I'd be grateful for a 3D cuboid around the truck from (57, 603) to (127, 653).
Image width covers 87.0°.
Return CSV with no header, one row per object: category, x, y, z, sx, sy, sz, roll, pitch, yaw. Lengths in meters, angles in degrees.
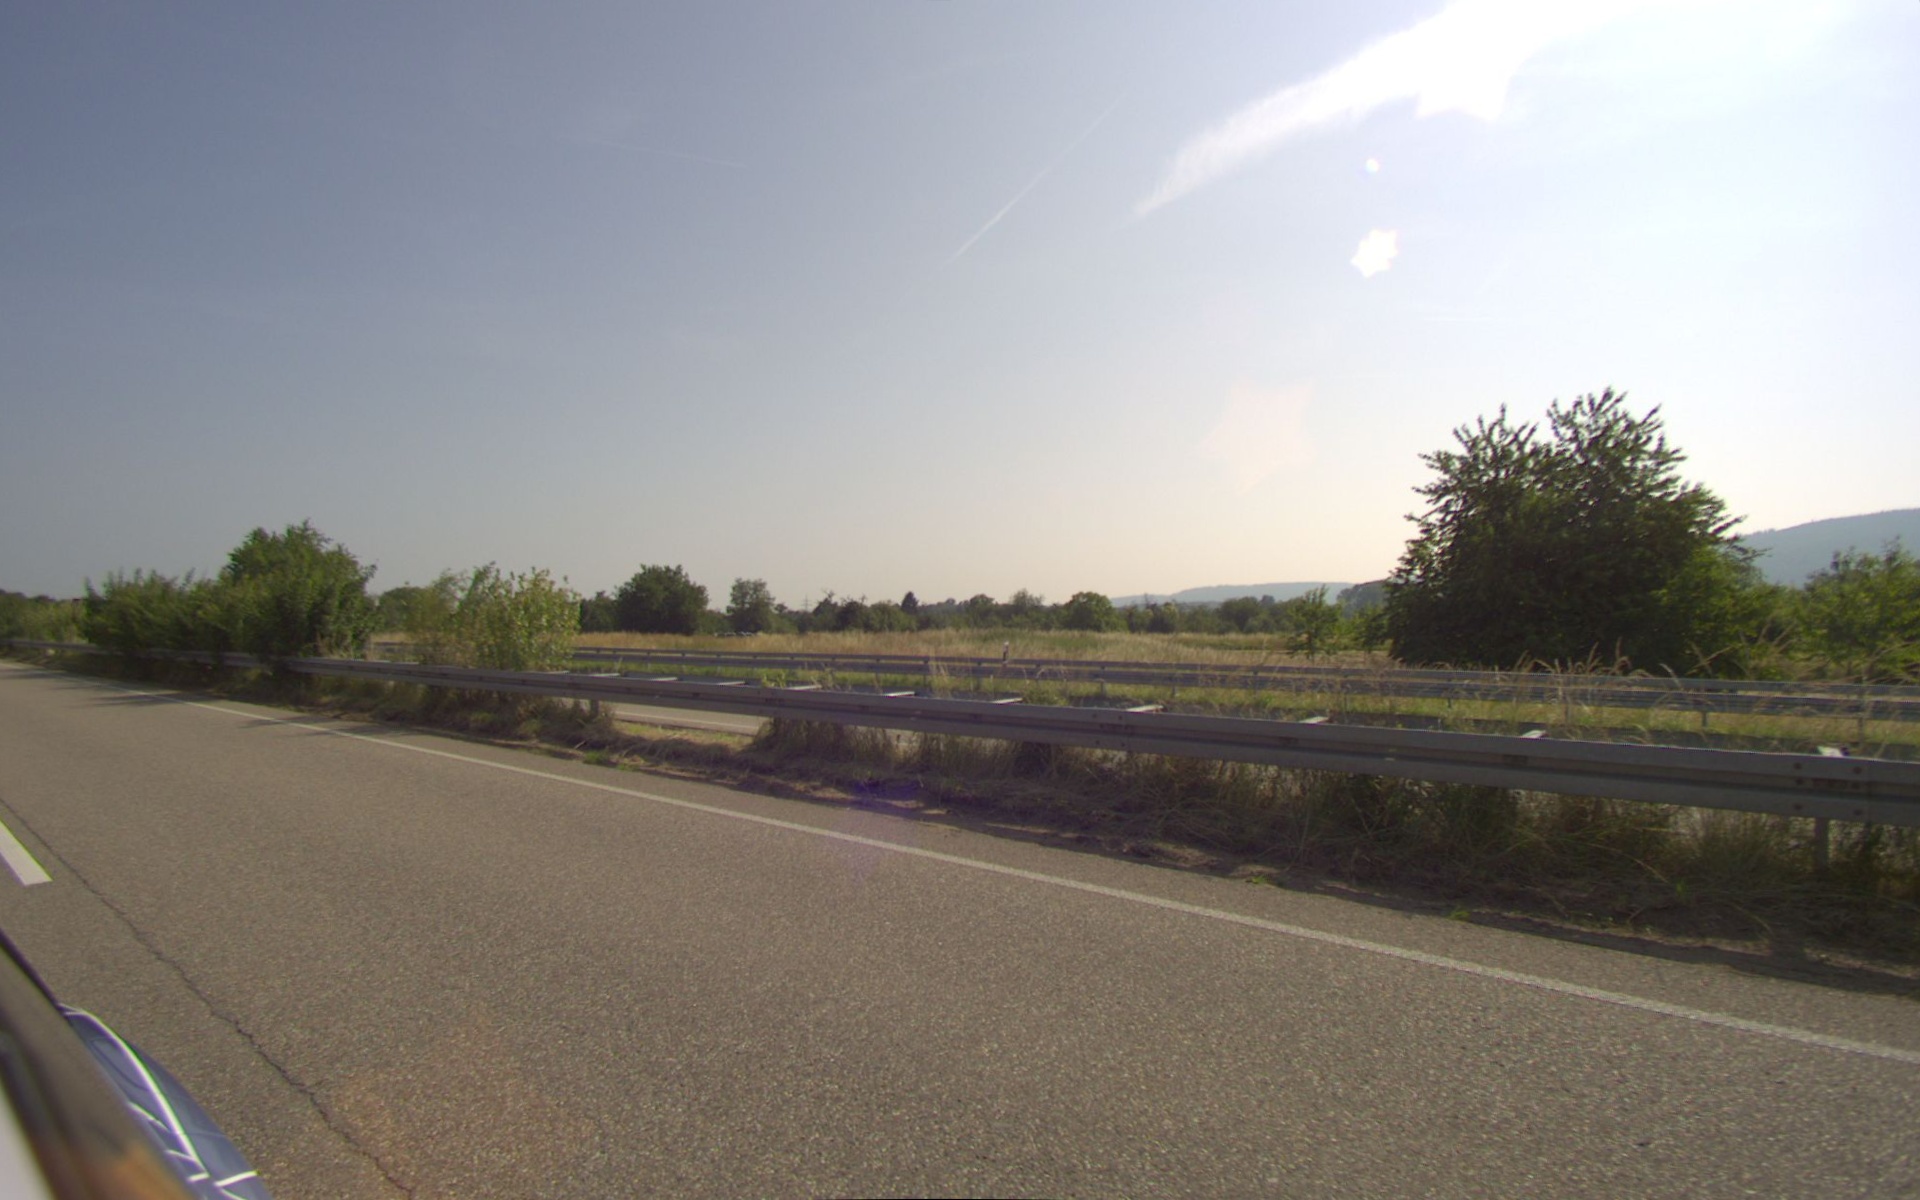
truck,-65.760,2.111,76.603,10.380,3.616,2.575,-2,-2,41
